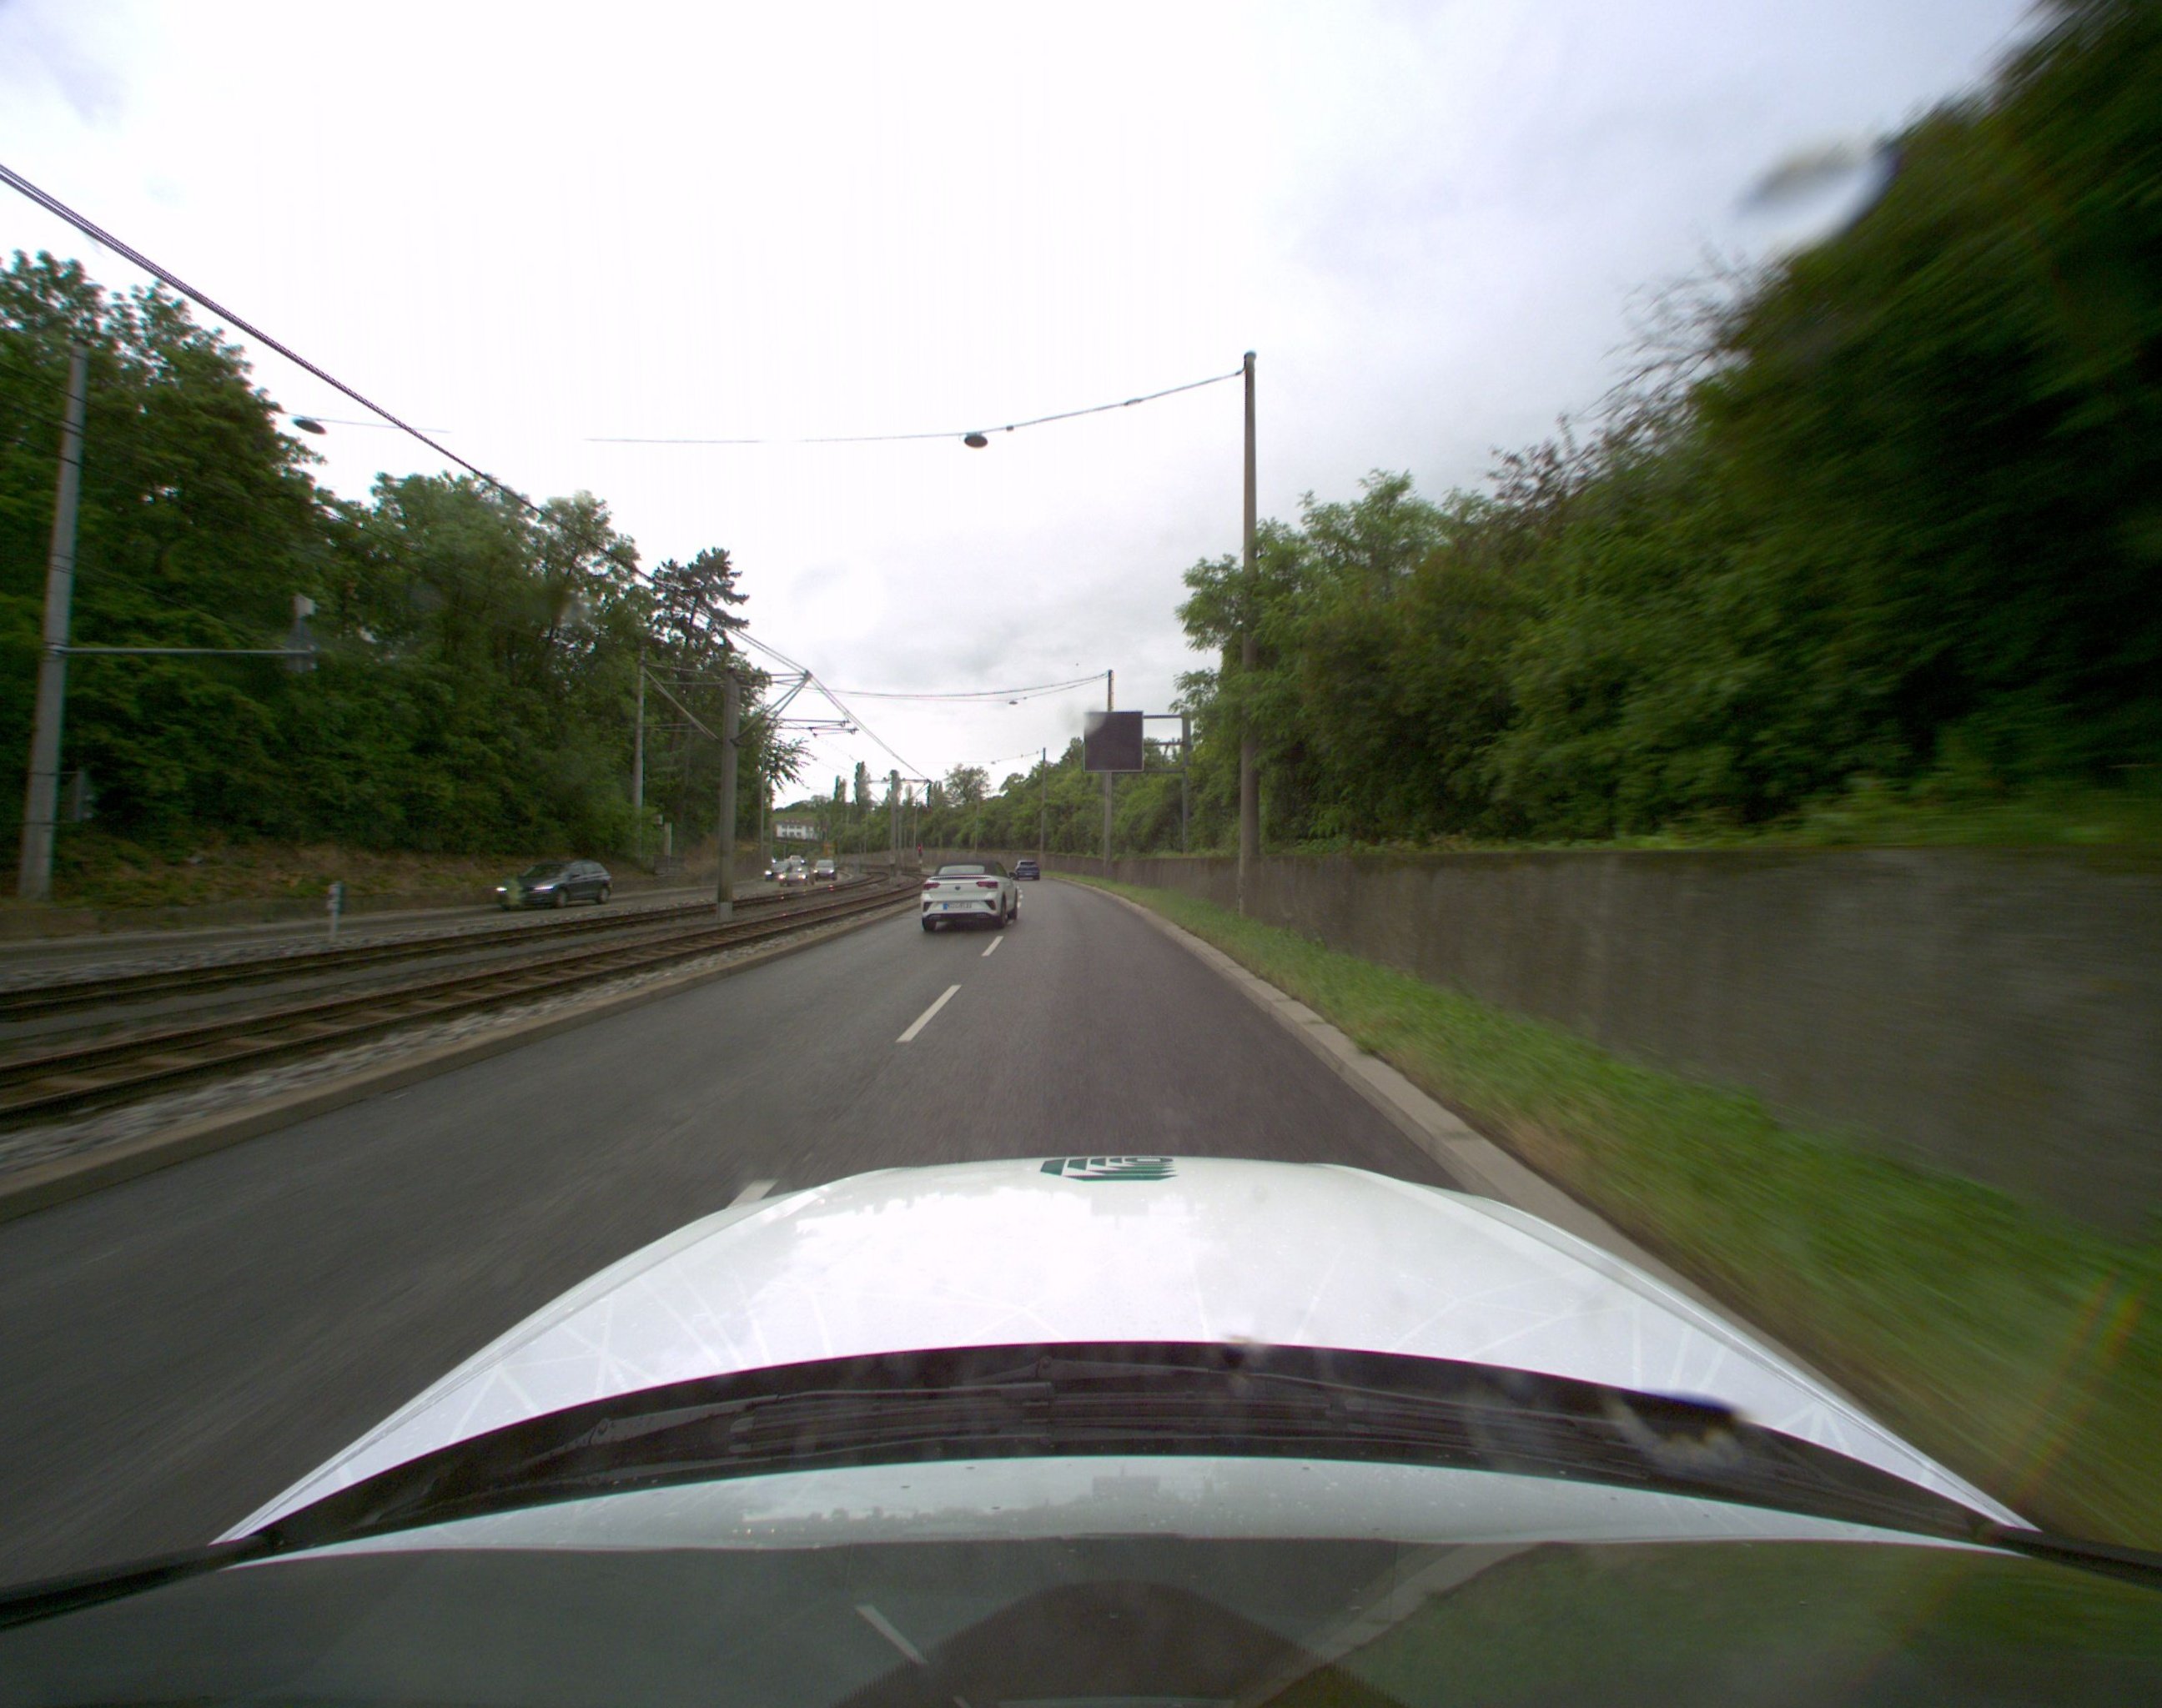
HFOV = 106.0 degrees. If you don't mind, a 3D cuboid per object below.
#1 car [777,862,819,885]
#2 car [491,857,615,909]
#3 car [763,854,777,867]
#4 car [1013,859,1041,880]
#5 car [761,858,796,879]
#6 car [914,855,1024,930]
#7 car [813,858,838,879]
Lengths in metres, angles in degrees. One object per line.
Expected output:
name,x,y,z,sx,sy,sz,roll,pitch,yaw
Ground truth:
car,-17.016,1.173,49.117,1.542,1.258,3.949,-2,0,-7
car,-18.309,0.935,28.527,1.704,1.607,4.403,-2,0,-5
car,-50.535,1.083,132.387,1.999,2.014,3.975,0,0,-19
car,-4.011,1.087,59.668,1.763,1.501,3.988,0,0,-8
car,-22.831,1.096,61.643,1.818,1.462,4.640,-2,0,-12
car,-2.481,0.807,19.169,1.865,1.524,4.540,-1,0,1
car,-18.990,1.070,60.618,1.541,1.491,3.601,-3,0,-16
